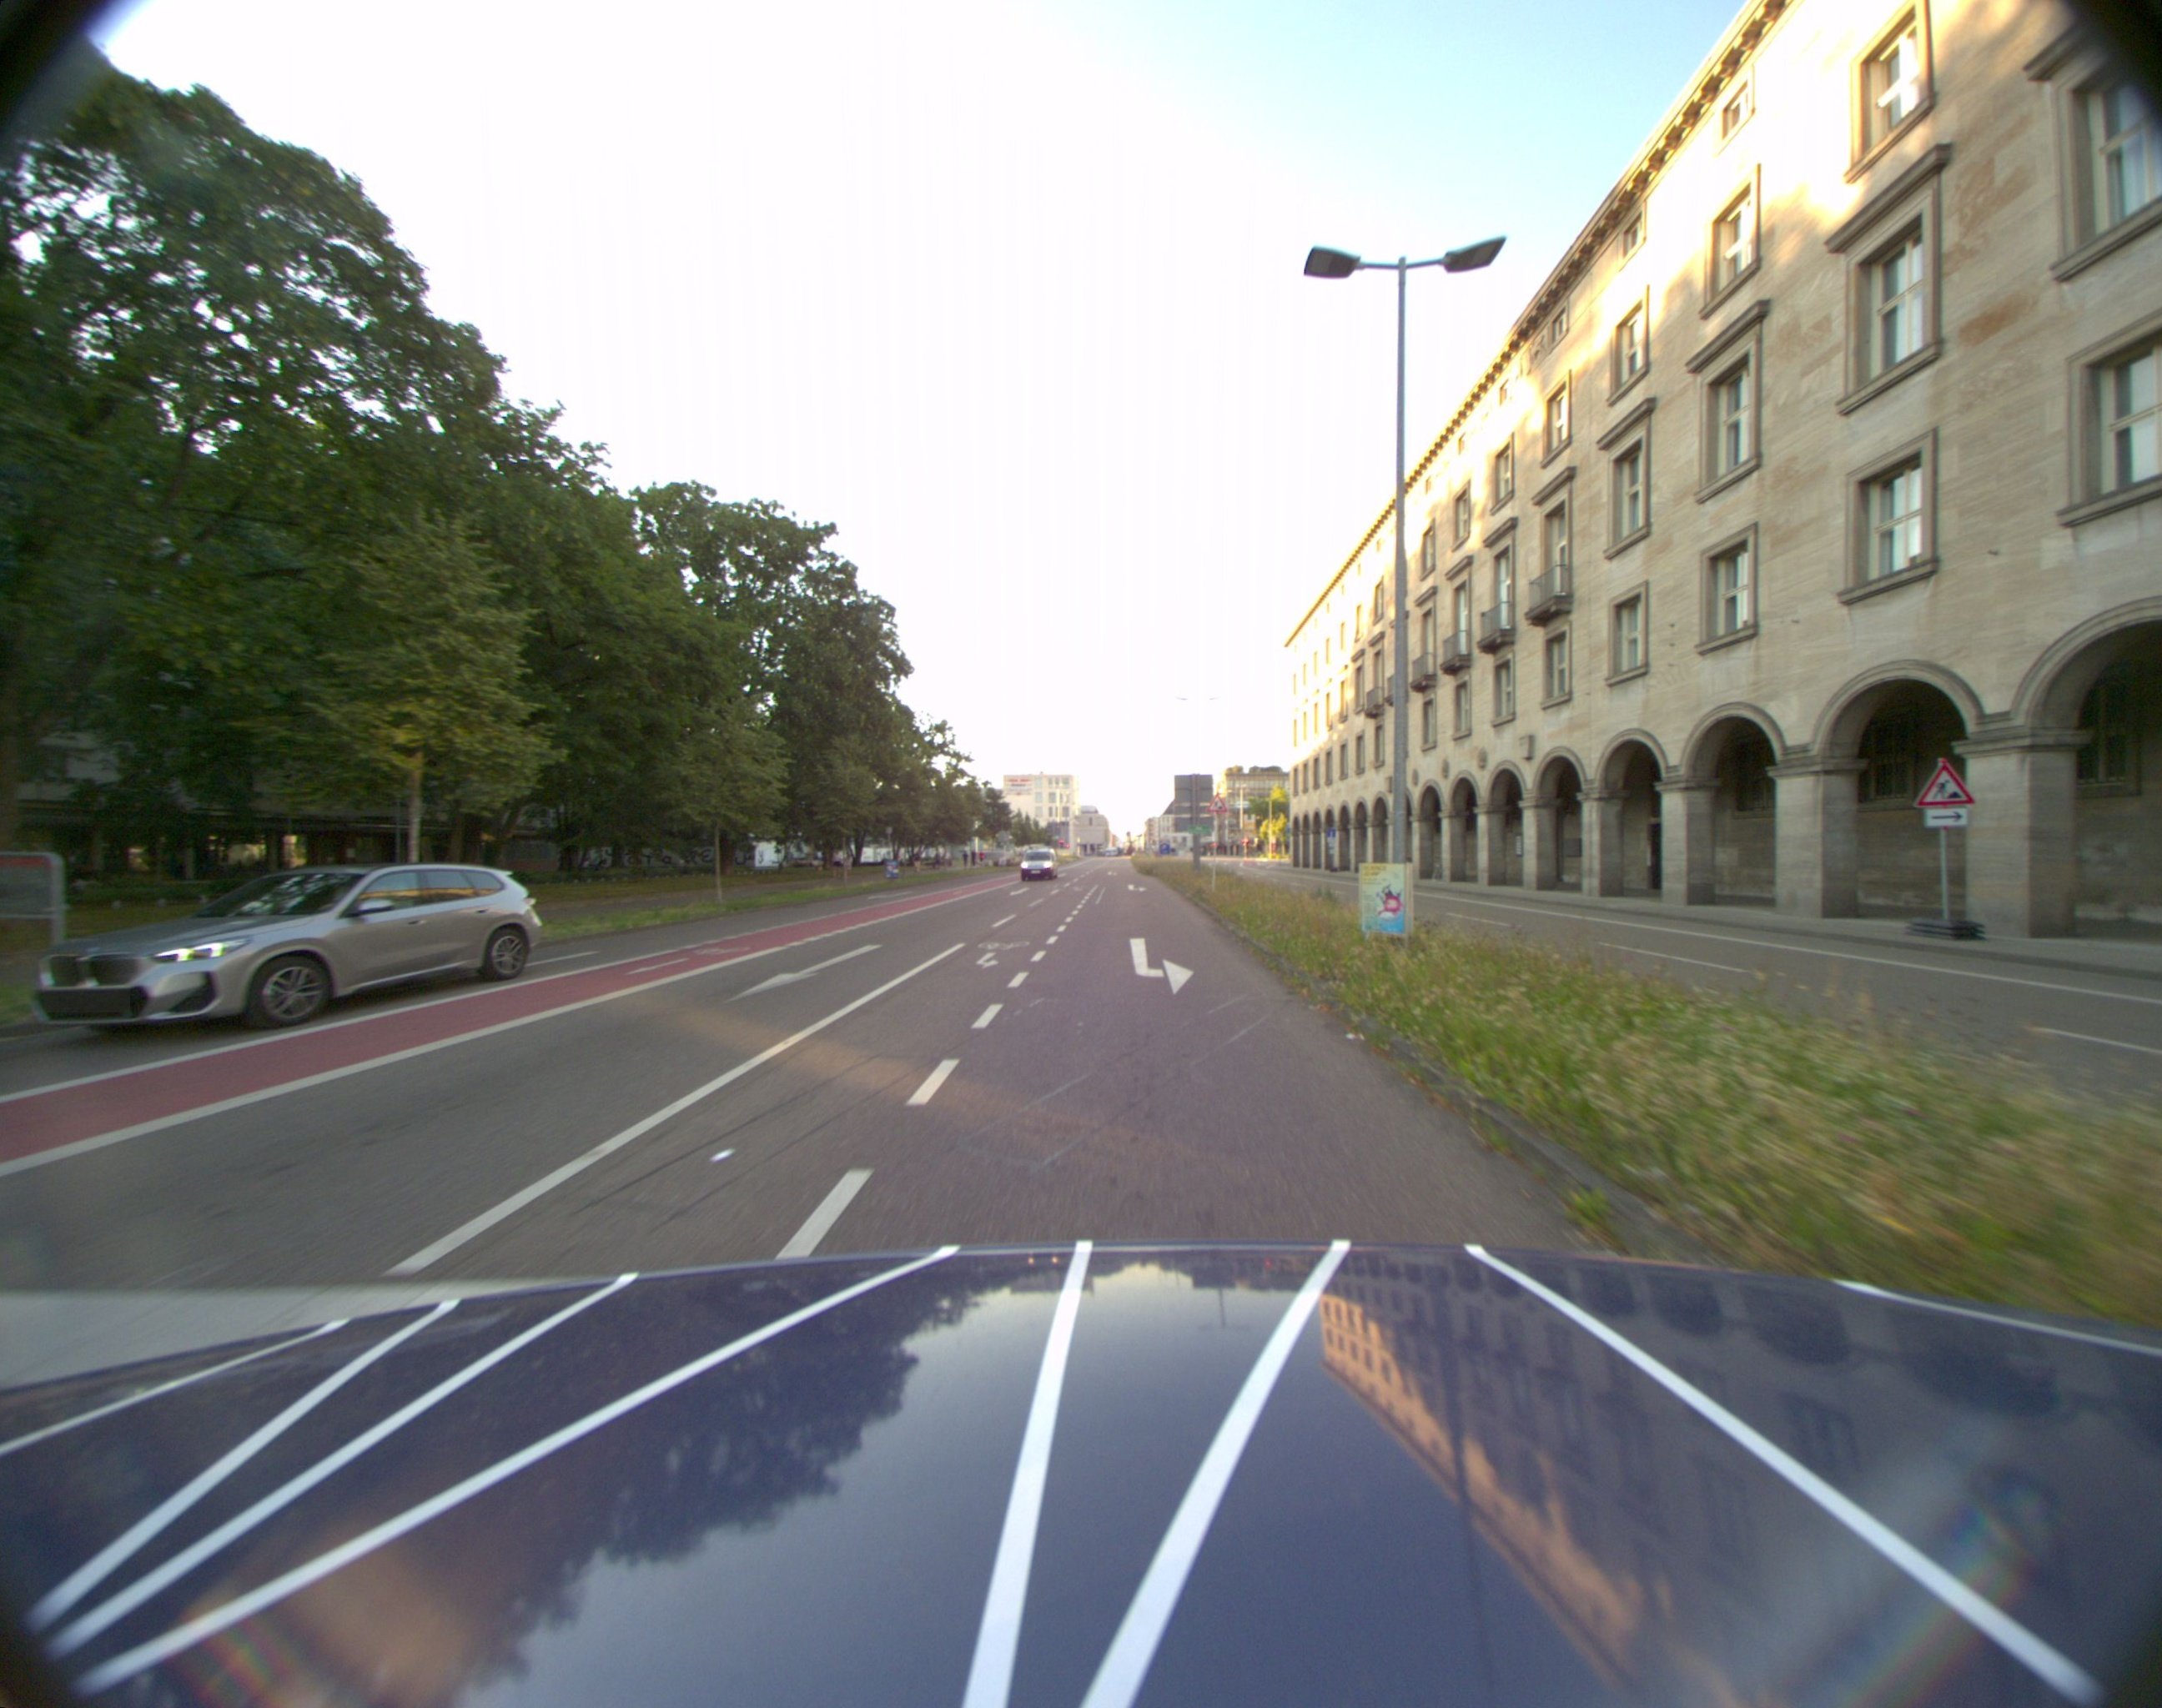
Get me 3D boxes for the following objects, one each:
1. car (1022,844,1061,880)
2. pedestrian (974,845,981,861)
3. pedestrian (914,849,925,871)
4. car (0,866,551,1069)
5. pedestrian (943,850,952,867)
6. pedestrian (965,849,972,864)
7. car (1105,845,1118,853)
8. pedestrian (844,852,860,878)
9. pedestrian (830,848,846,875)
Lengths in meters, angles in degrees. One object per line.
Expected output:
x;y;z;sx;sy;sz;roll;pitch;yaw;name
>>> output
-2.184;0.407;43.106;1.804;1.900;4.465;0;1;2;car
-10.794;-0.102;79.205;0.632;1.656;0.645;0;1;-10;pedestrian
-12.148;0.416;57.246;0.631;1.653;0.646;0;1;8;pedestrian
-8.632;1.015;8.739;1.885;1.654;4.346;0;0;3;car
-11.467;0.350;65.351;0.631;1.455;0.646;0;1;5;pedestrian
-10.296;0.244;69.389;0.632;1.387;0.645;0;1;-10;pedestrian
8.939;-1.495;224.261;1.995;2.001;4.007;-5;-2;29;car
-13.452;0.655;44.589;0.677;1.488;0.646;0;1;5;pedestrian
-14.239;0.442;44.505;0.645;1.585;0.678;0;1;6;pedestrian
